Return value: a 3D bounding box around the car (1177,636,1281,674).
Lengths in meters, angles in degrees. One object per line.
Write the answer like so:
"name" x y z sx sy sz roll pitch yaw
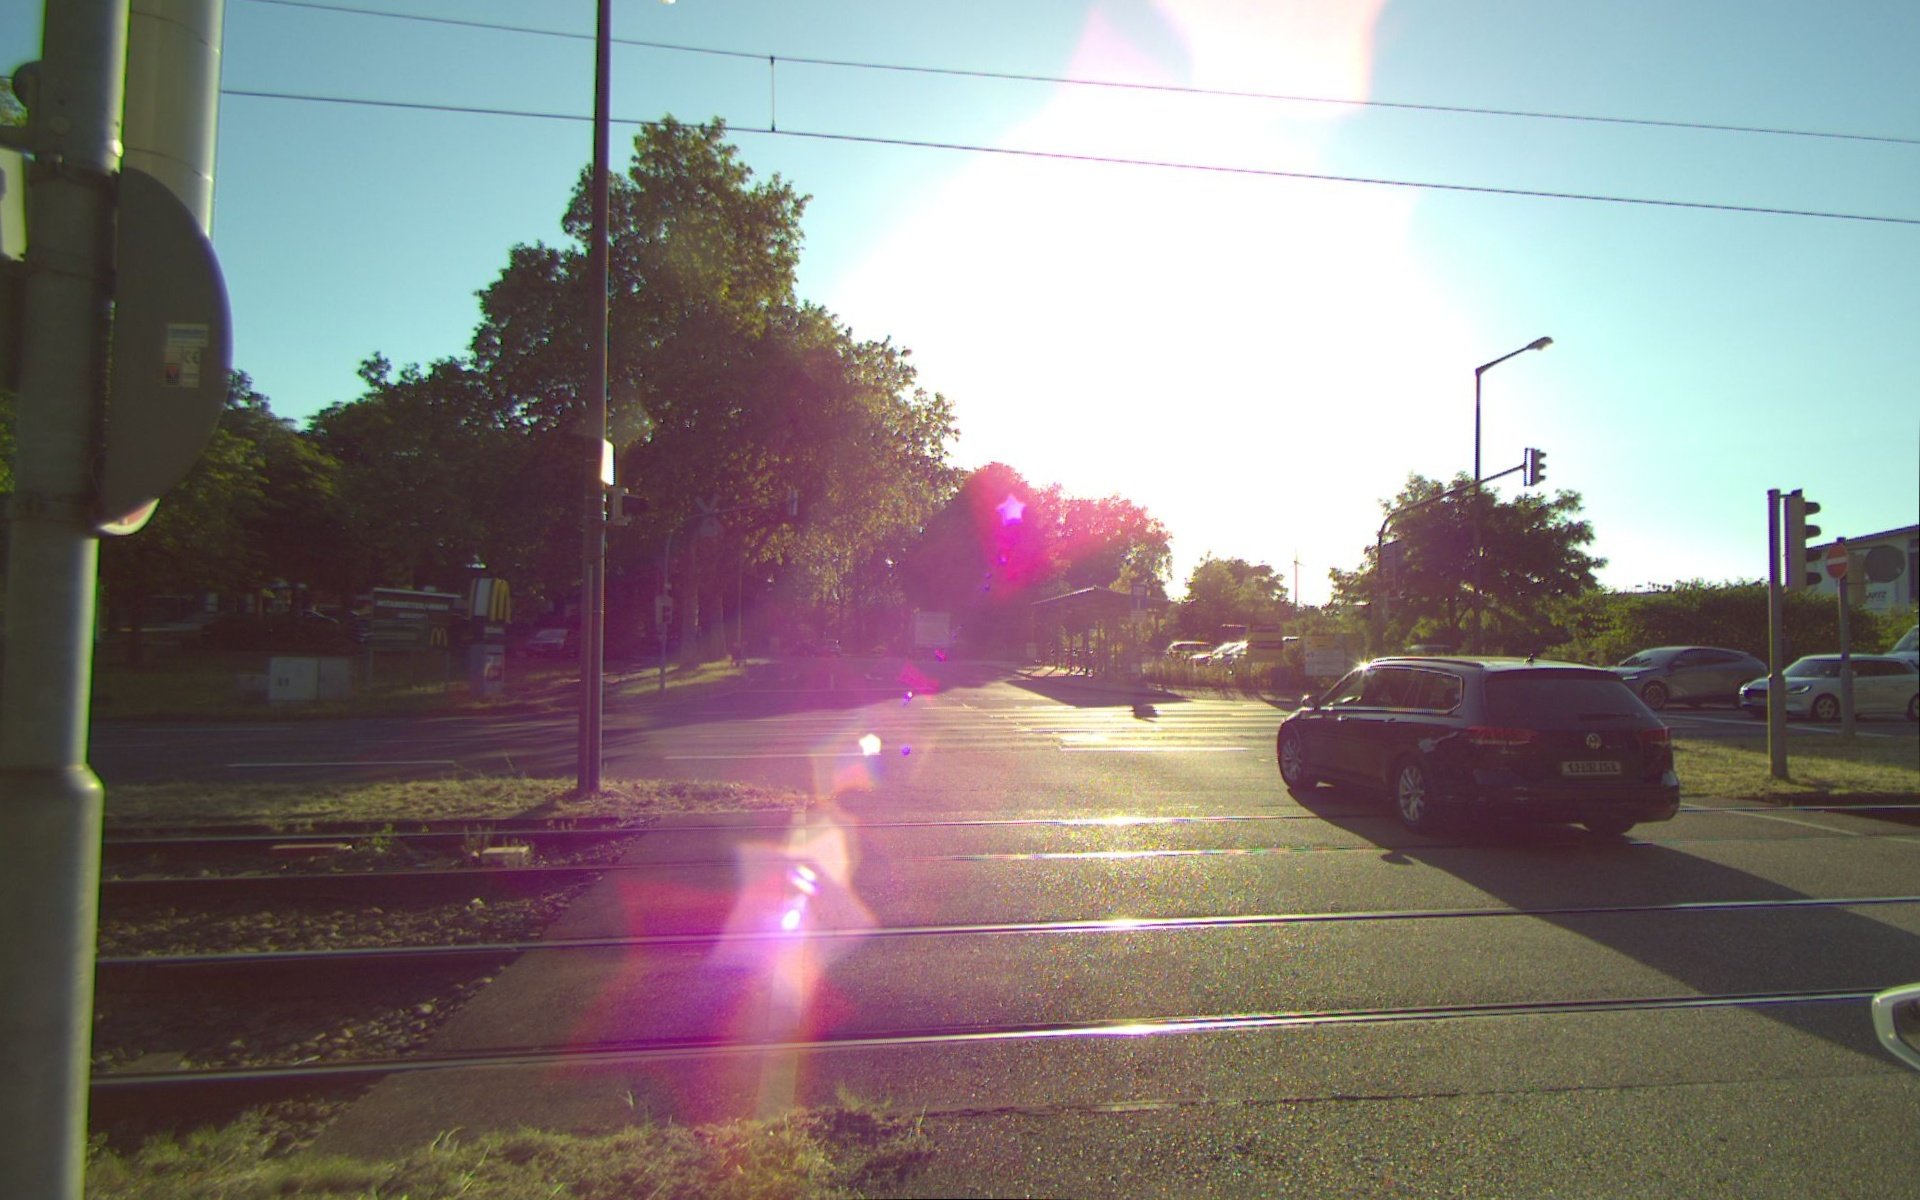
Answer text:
"car" 12.635 2.565 47.263 4.241 1.670 2.117 1 -2 -9

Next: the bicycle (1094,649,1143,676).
"bicycle" 6.391 2.528 40.573 1.858 1.052 0.543 1 -2 -7

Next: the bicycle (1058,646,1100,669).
"bicycle" 5.518 2.666 46.714 1.858 1.052 0.543 1 -2 -7

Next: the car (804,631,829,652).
"car" -11.476 3.306 80.474 1.817 1.572 3.997 1 -2 -6

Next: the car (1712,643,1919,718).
"car" 20.073 1.847 23.369 3.926 1.639 1.874 1 -2 -7

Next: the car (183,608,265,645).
"car" -36.176 1.322 49.482 1.797 1.710 4.213 1 -2 -15

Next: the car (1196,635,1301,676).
"car" 12.616 2.420 44.074 3.927 1.670 2.117 1 -2 -9

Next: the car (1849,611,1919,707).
"car" 28.932 1.677 28.676 5.767 2.600 2.008 1 -2 -7

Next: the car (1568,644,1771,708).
"car" 19.258 2.042 27.344 4.464 1.639 1.874 1 -2 -8

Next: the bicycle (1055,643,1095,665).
"bicycle" 5.661 2.668 49.518 1.857 1.052 0.544 1 -2 -3

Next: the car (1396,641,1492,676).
"car" 24.798 2.986 51.551 3.920 1.658 2.121 1 -2 1

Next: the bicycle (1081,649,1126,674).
"bicycle" 6.238 2.668 43.553 1.858 1.052 0.543 1 -2 -7

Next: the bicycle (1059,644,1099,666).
"bicycle" 5.682 2.631 48.087 1.857 1.052 0.544 1 -2 -3

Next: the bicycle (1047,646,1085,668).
"bicycle" 5.375 2.891 51.075 1.857 1.052 0.544 1 -2 -3

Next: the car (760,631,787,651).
"car" -15.148 3.306 81.830 1.817 1.572 3.997 1 -2 -6

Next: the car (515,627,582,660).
"car" -21.030 2.193 51.513 2.005 1.594 4.398 1 -2 -7

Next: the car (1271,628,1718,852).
"car" 4.481 1.062 9.291 1.795 1.576 4.258 1 -2 -1

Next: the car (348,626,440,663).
"car" -28.347 2.212 50.489 1.961 1.729 4.899 1 -2 -2

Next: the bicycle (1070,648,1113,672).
"bicycle" 6.002 2.737 45.794 1.858 1.052 0.543 1 -2 -7

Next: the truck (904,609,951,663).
"truck" -2.662 2.768 78.272 3.134 3.927 11.093 1 -2 -4

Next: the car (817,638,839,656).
"car" -12.105 4.306 92.423 1.817 1.572 3.997 1 -2 -6
